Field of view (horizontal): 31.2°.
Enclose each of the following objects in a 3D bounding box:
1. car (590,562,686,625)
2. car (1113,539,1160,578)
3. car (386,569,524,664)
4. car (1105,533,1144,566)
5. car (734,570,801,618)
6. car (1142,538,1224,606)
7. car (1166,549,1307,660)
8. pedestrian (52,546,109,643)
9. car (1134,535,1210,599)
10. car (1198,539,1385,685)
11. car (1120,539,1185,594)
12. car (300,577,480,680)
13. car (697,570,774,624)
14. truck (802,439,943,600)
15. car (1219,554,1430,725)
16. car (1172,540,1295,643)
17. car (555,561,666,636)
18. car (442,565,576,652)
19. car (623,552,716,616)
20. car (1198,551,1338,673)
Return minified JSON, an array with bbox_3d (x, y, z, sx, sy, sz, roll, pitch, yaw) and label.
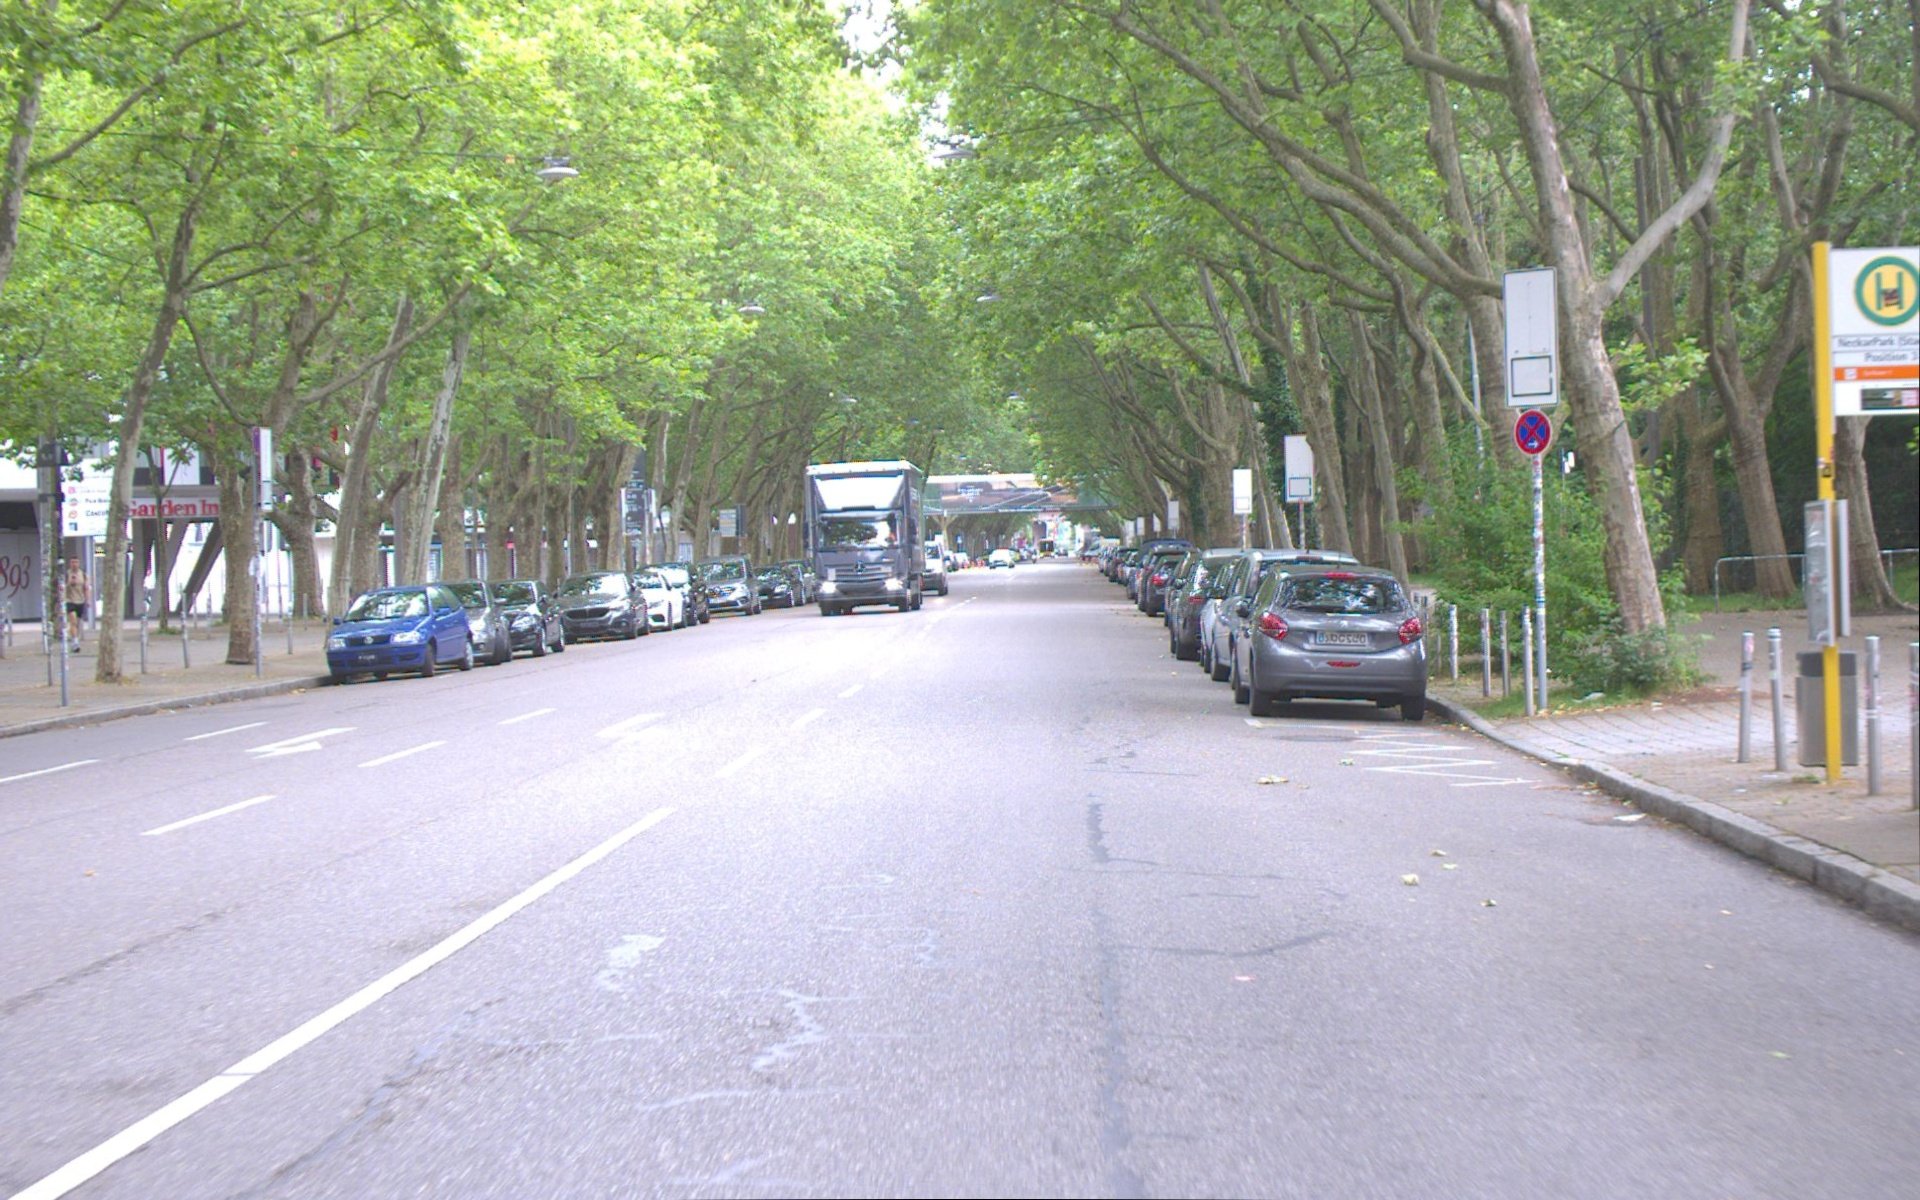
[{"bbox_3d":[-7.450,-0.131,79.819,1.732,1.327,4.000,-3,-1,1],"label":"car"},{"bbox_3d":[7.284,-1.717,141.871,1.756,1.529,3.929,-3,1,2],"label":"car"},{"bbox_3d":[-8.467,0.279,57.930,1.765,1.414,3.761,-4,0,-1],"label":"car"},{"bbox_3d":[7.820,-2.401,163.493,1.756,1.529,3.929,1,1,2],"label":"car"},{"bbox_3d":[-6.280,-0.171,112.393,1.895,1.433,4.000,-3,-1,0],"label":"car"},{"bbox_3d":[5.209,-0.665,80.816,1.756,1.529,3.929,1,1,2],"label":"car"},{"bbox_3d":[3.975,0.030,49.972,1.756,1.485,4.416,2,1,1],"label":"car"},{"bbox_3d":[-16.797,-0.107,65.620,0.770,1.828,0.879,-2,1,-33],"label":"pedestrian"},{"bbox_3d":[5.322,-0.844,86.668,1.756,1.529,3.929,-1,1,2],"label":"car"},{"bbox_3d":[3.829,0.108,40.285,1.719,1.562,4.094,2,1,0],"label":"car"},{"bbox_3d":[5.591,-0.981,100.388,1.756,1.529,3.929,-1,1,2],"label":"car"},{"bbox_3d":[-8.730,0.416,52.927,1.695,1.414,3.760,-4,0,6],"label":"car"},{"bbox_3d":[-6.507,-0.067,99.866,1.895,1.433,4.000,-3,-1,0],"label":"car"},{"bbox_3d":[-2.219,-2.089,90.925,2.641,3.888,9.539,-3,1,4],"label":"truck"},{"bbox_3d":[3.593,0.339,34.552,1.699,1.514,4.454,2,1,1],"label":"car"},{"bbox_3d":[4.385,-0.161,55.551,1.756,1.591,3.929,1,1,2],"label":"car"},{"bbox_3d":[-7.359,-0.034,72.666,1.766,1.414,3.761,-4,0,1],"label":"car"},{"bbox_3d":[-8.217,0.158,62.867,1.766,1.414,3.761,-4,0,1],"label":"car"},{"bbox_3d":[-7.199,-0.383,85.461,1.895,1.433,4.000,-3,-1,0],"label":"car"},{"bbox_3d":[4.015,0.125,45.266,1.675,1.485,3.686,2,1,3],"label":"car"}]
